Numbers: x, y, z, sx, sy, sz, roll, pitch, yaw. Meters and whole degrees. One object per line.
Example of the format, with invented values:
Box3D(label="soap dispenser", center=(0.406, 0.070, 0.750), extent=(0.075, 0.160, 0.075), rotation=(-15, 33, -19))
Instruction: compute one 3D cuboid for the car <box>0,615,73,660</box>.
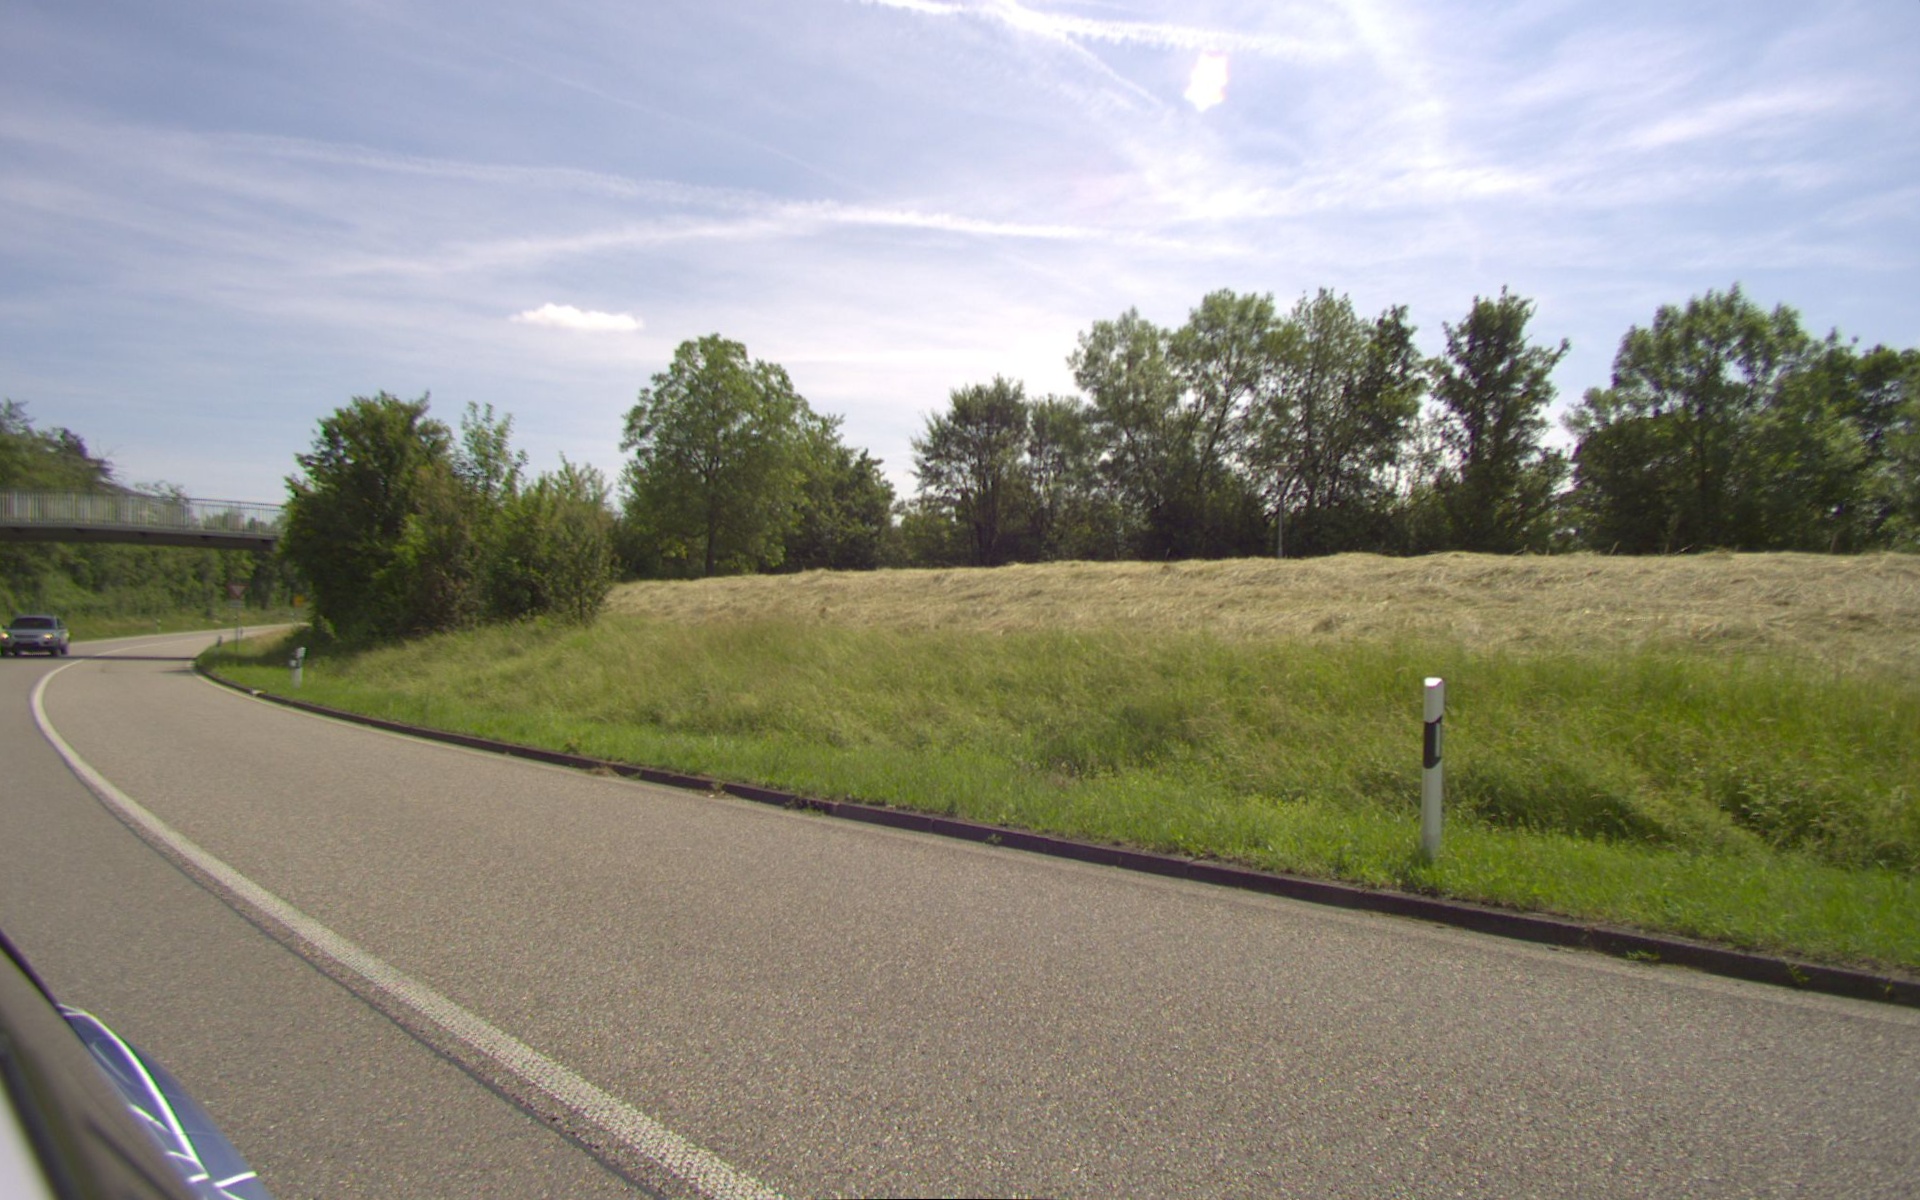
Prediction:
Box3D(label="car", center=(-38.385, 1.511, 41.995), extent=(1.819, 1.721, 4.099), rotation=(1, -1, -34))
